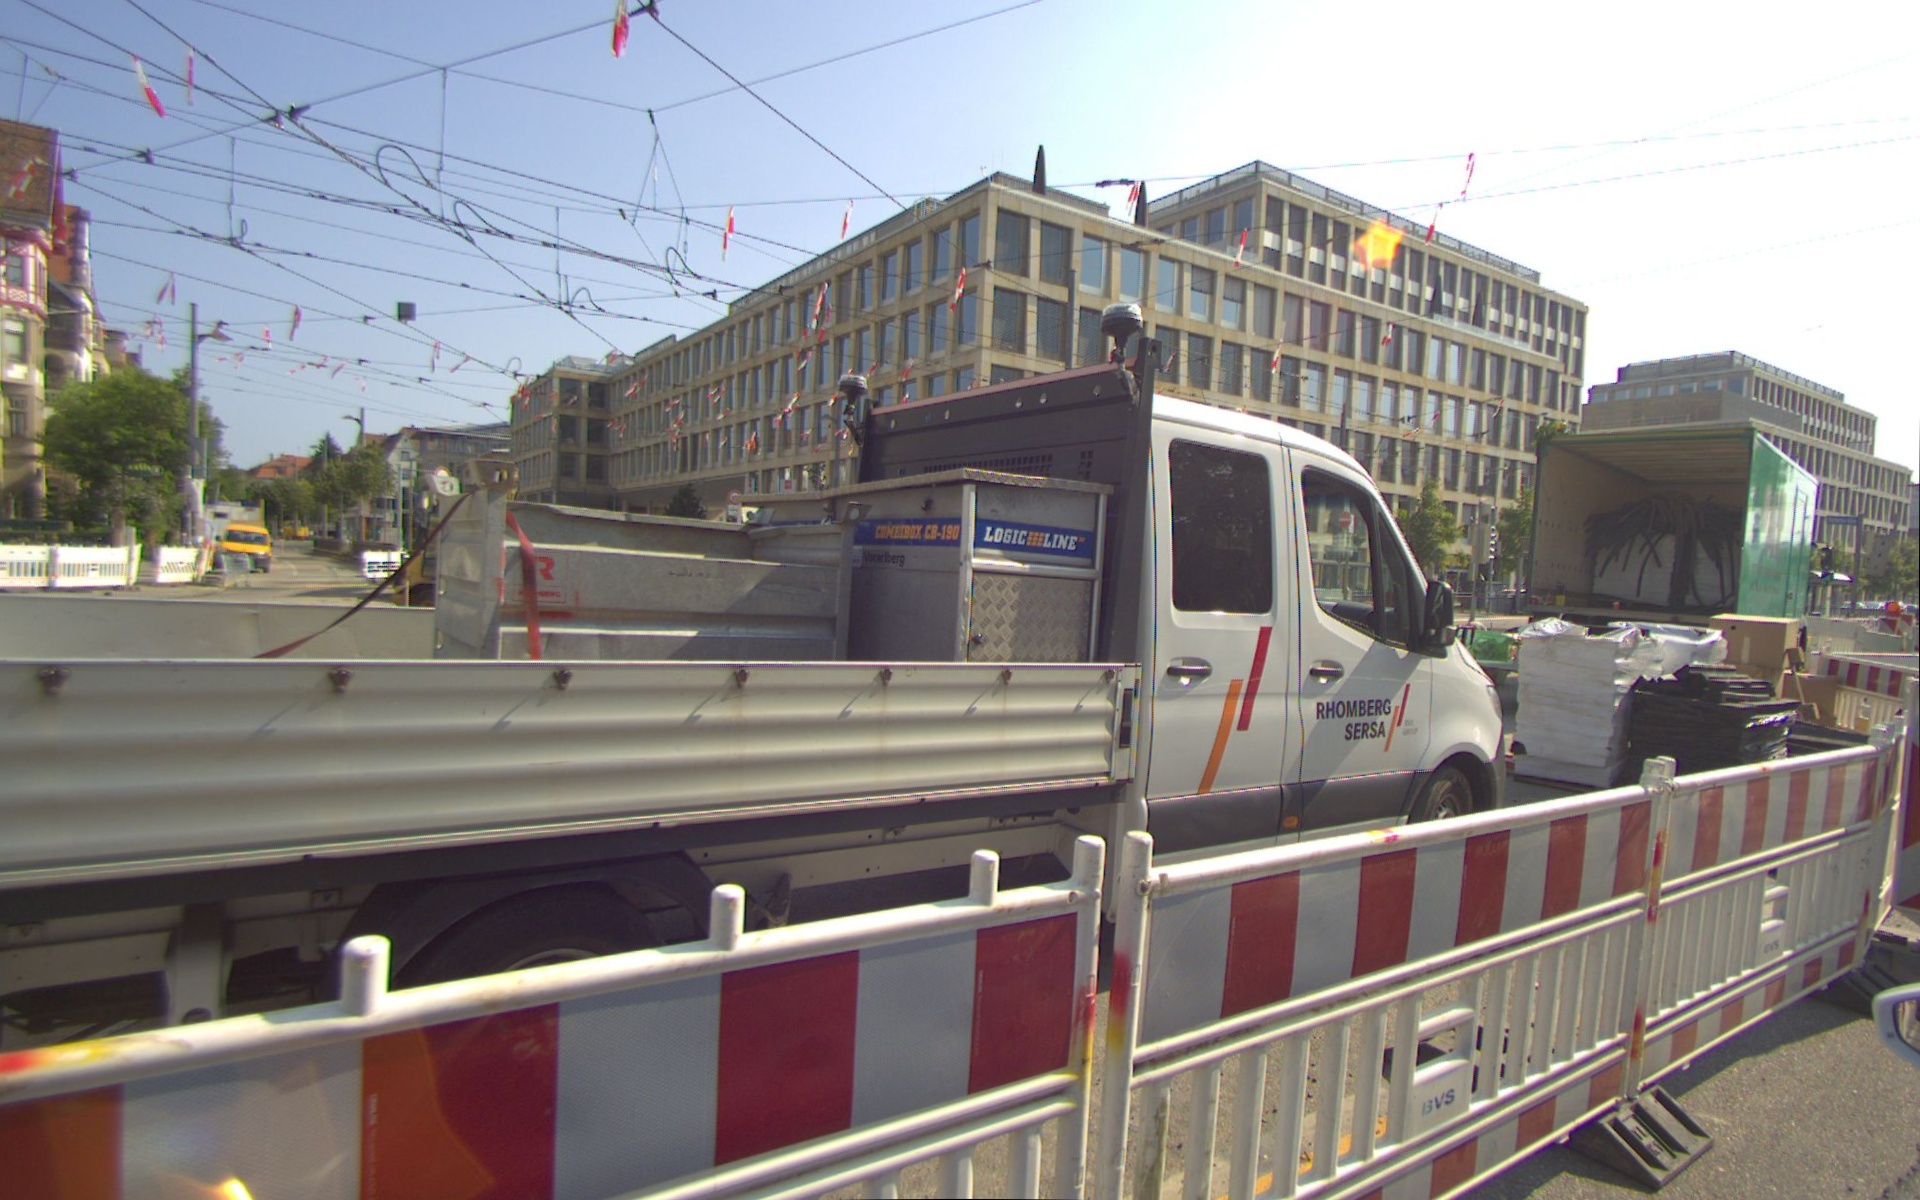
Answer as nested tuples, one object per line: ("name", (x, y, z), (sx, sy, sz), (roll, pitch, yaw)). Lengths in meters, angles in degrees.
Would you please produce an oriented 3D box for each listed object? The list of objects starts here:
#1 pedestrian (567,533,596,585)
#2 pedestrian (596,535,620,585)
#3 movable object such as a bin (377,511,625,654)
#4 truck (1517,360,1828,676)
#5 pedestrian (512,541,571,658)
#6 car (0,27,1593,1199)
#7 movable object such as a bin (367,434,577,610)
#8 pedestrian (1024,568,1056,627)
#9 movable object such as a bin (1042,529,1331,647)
("pedestrian", (-15.449, -1.664, 40.973), (0.884, 2.092, 0.667), (4, 4, 32))
("pedestrian", (-14.790, -1.680, 42.178), (0.813, 2.041, 0.668), (2, 3, -11))
("movable object such as a bin", (-10.471, -0.448, 23.010), (4.721, 2.872, 2.449), (3, 2, 19))
("truck", (12.088, -1.177, 16.614), (2.762, 3.966, 8.367), (7, 5, 43))
("pedestrian", (-7.126, -0.015, 17.127), (0.775, 1.938, 0.720), (2, 2, -15))
("car", (0.047, 0.255, 4.417), (7.134, 2.457, 2.190), (1, 3, -38))
("movable object such as a bin", (-14.450, -2.201, 30.644), (4.896, 4.405, 7.344), (3, 2, -21))
("pedestrian", (2.637, -0.098, 33.157), (0.796, 1.890, 0.754), (2, 3, -12))
("movable object such as a bin", (6.930, -0.308, 30.227), (8.391, 2.997, 3.590), (2, 4, -35))
